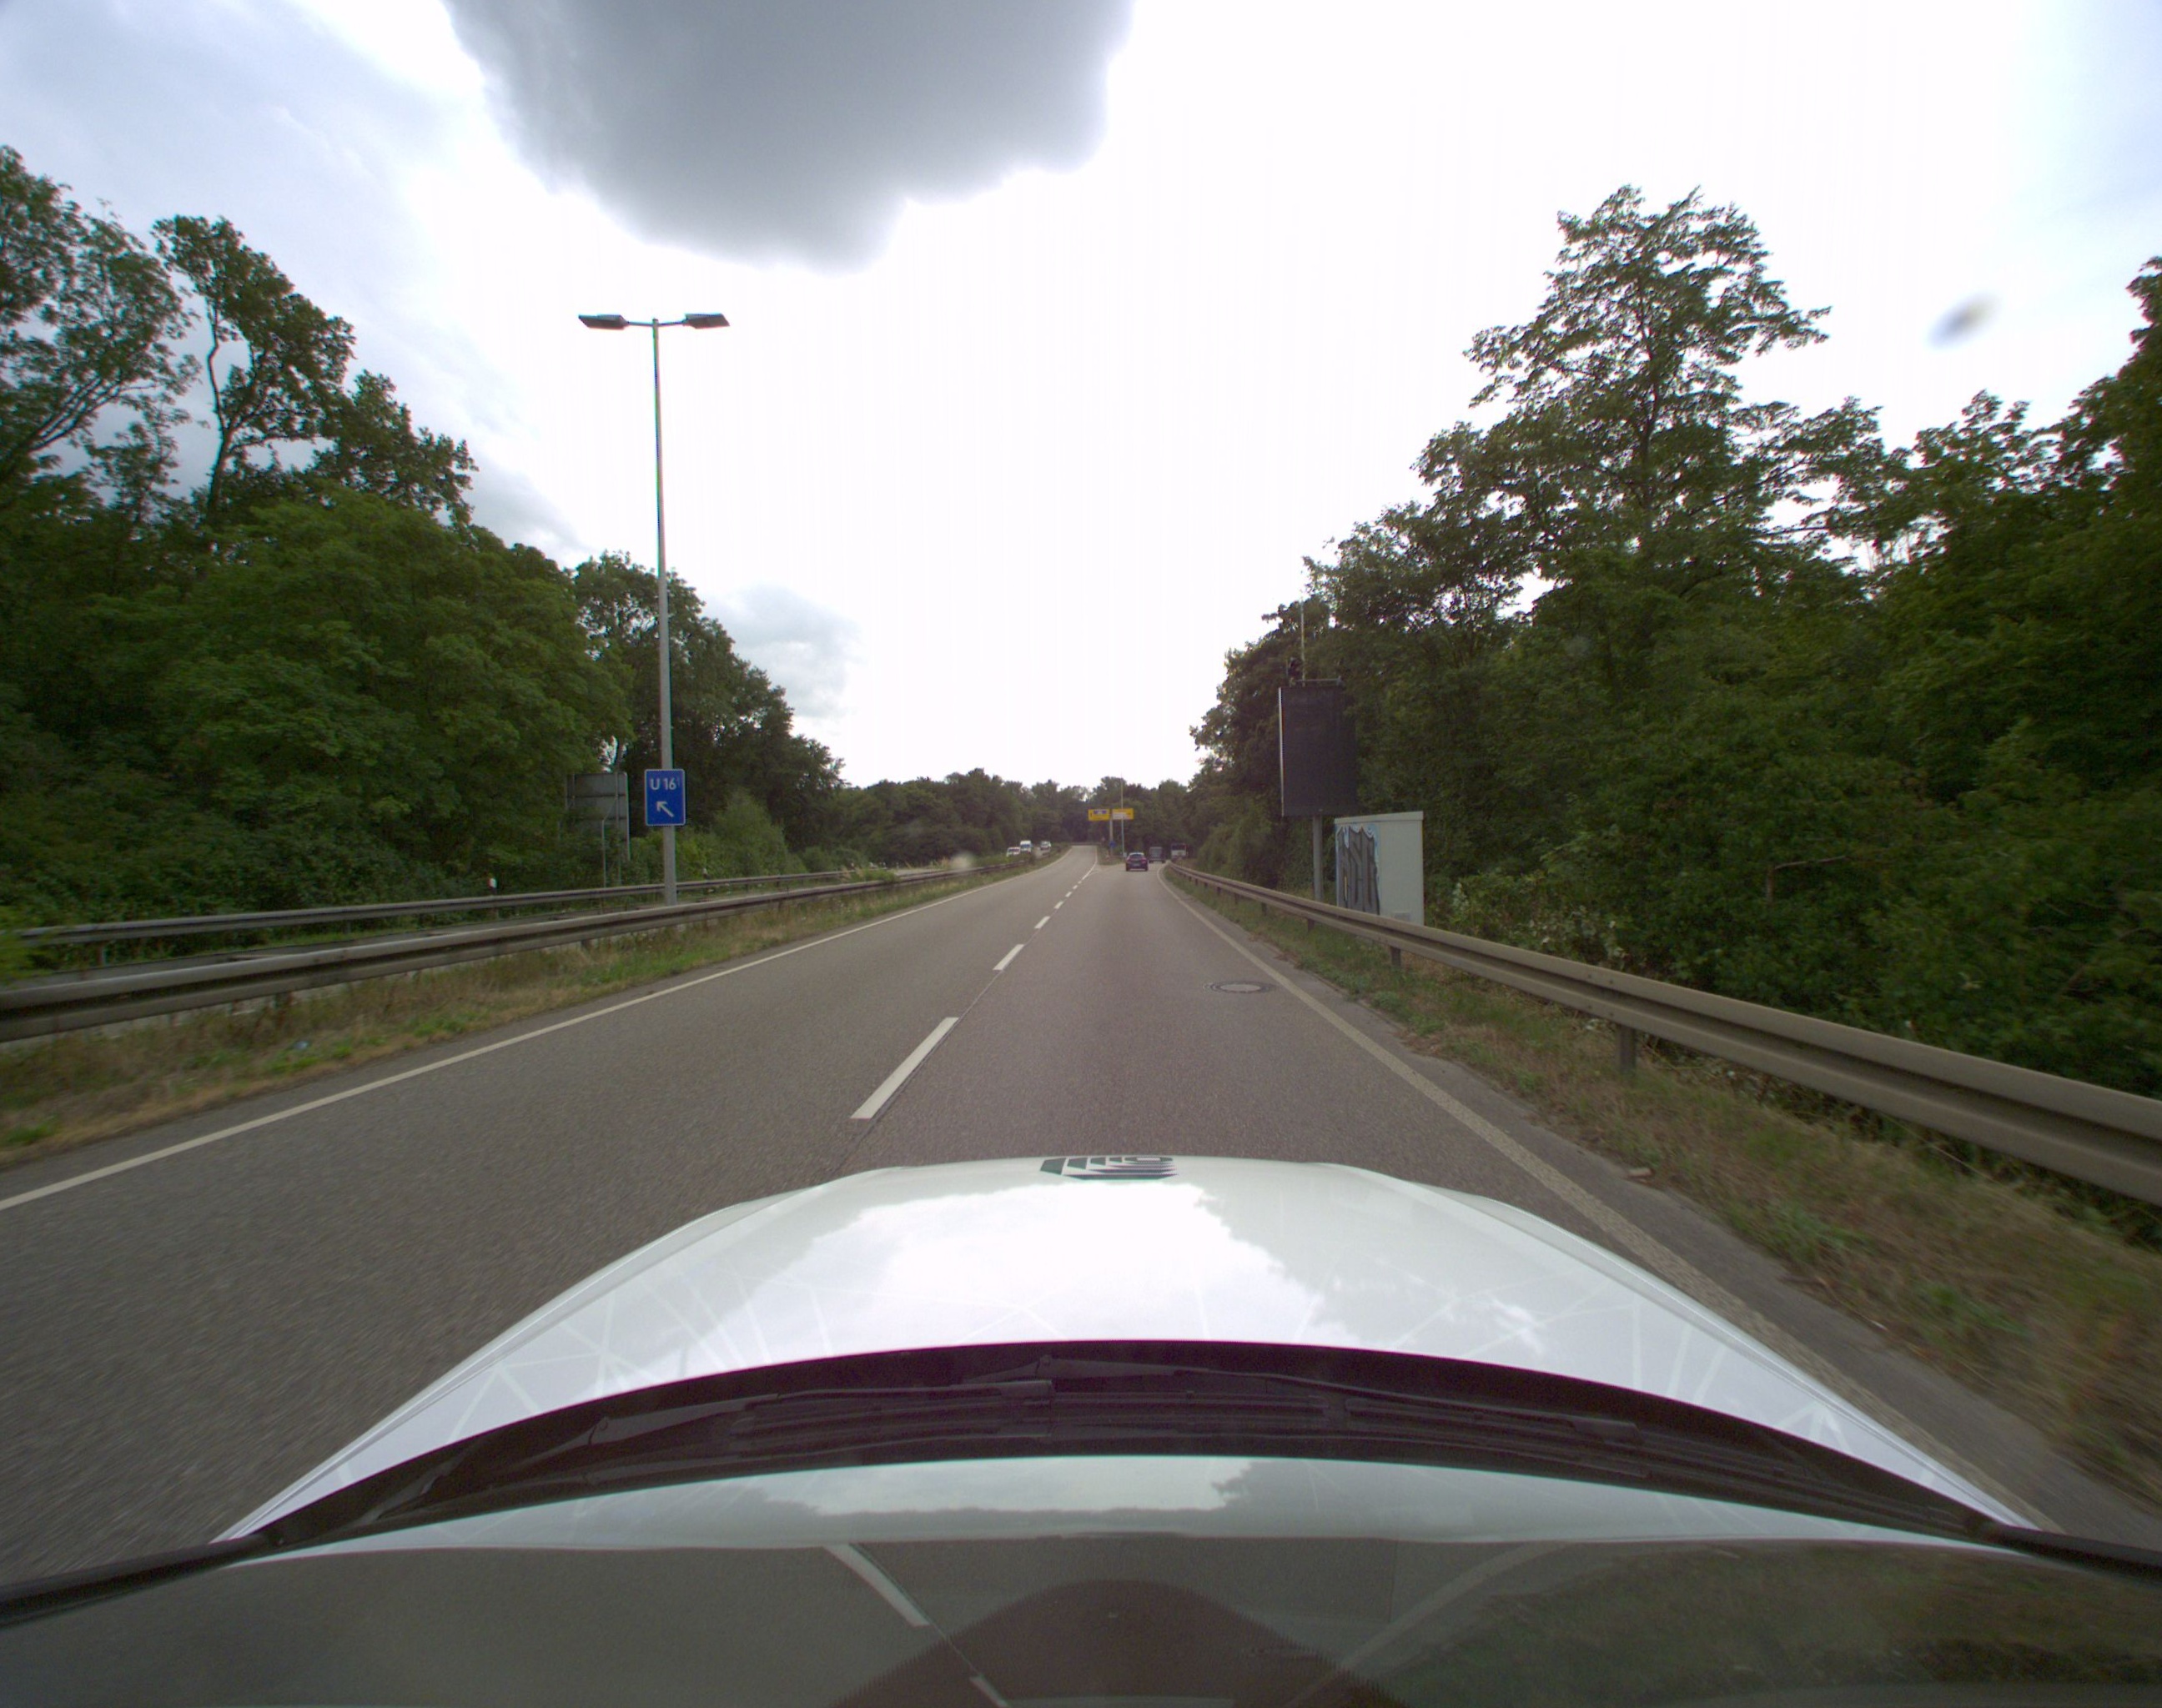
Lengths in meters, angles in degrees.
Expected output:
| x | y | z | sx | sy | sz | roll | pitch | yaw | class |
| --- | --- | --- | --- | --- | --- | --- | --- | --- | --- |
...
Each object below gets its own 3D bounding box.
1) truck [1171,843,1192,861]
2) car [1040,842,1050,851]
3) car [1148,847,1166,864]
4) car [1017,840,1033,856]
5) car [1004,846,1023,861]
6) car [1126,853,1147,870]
| x | y | z | sx | sy | sz | roll | pitch | yaw | class |
| --- | --- | --- | --- | --- | --- | --- | --- | --- | --- |
| 17.332 | -0.307 | 139.855 | 2.962 | 2.885 | 8.013 | -1 | -1 | 11 | truck |
| -7.922 | -1.711 | 179.573 | 1.986 | 2.013 | 4.003 | -1 | 1 | 2 | car |
| 9.493 | 0.208 | 101.529 | 2.136 | 2.014 | 4.008 | -1 | -1 | 7 | car |
| -9.672 | -1.093 | 140.119 | 2.110 | 2.591 | 5.043 | -1 | 1 | 2 | car |
| -8.972 | -0.048 | 109.028 | 1.986 | 1.847 | 4.003 | -1 | 1 | 2 | car |
| 4.505 | 0.624 | 66.895 | 1.619 | 1.377 | 4.002 | -1 | -1 | 2 | car |
